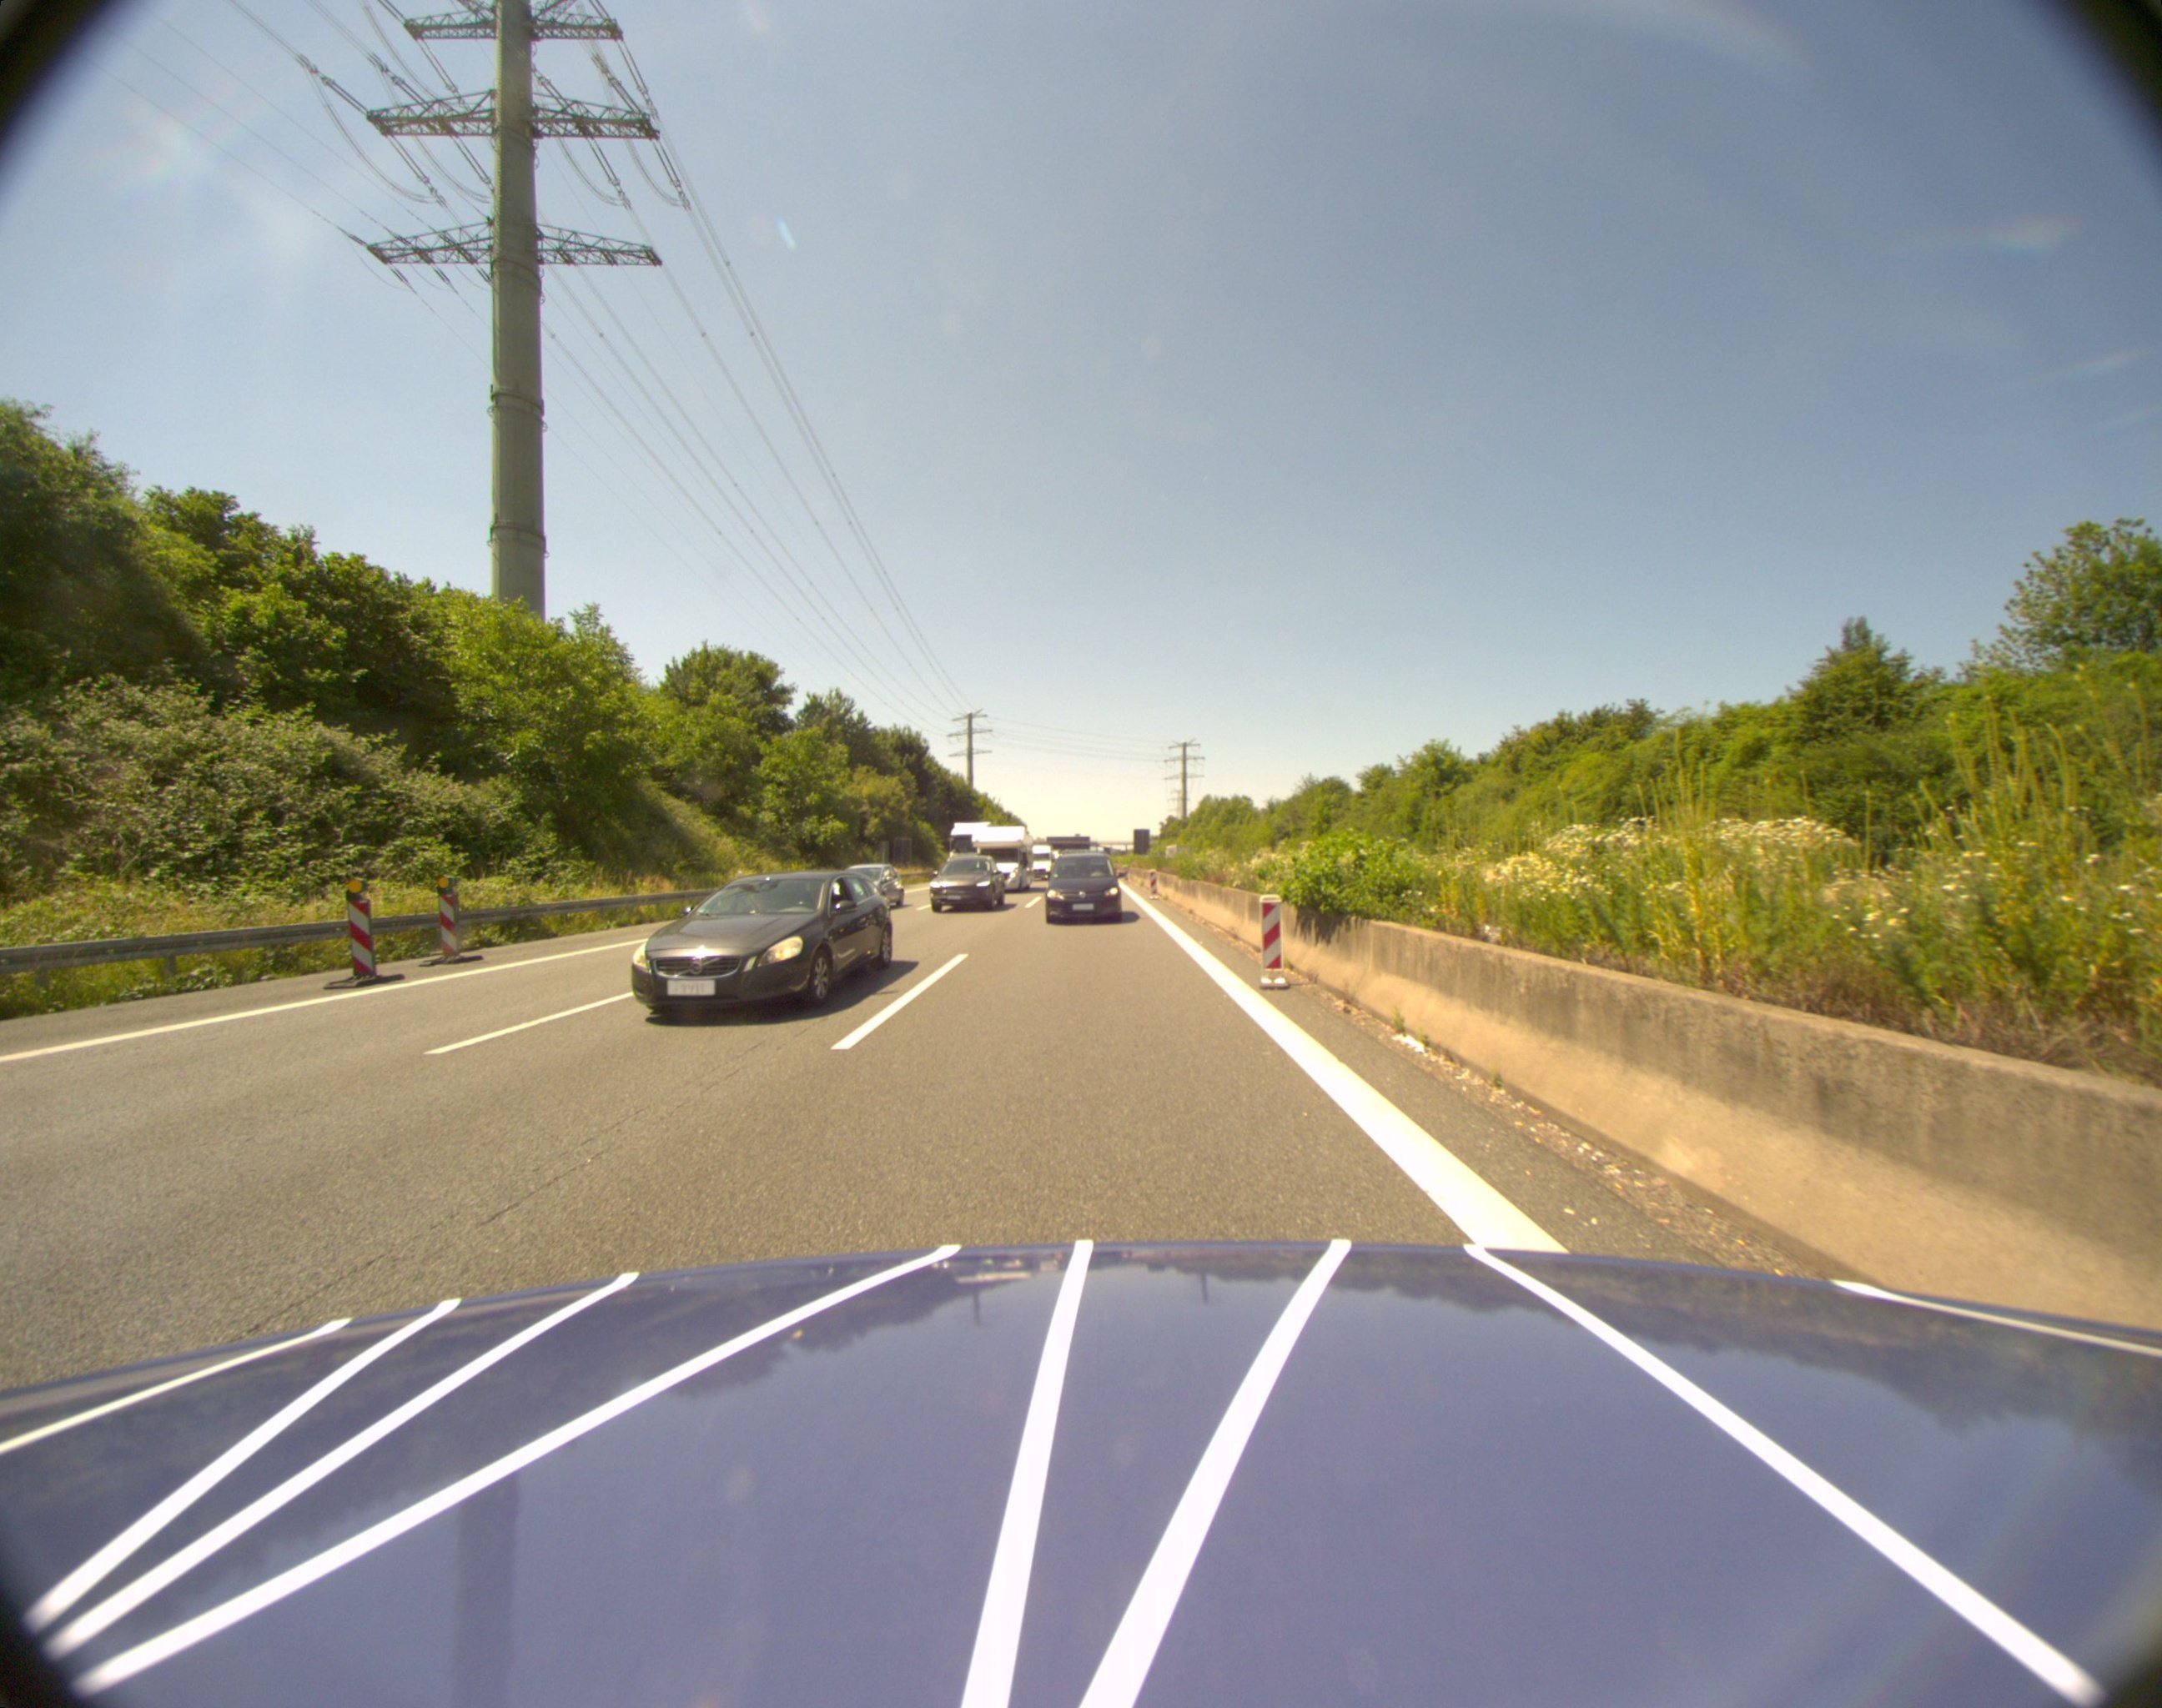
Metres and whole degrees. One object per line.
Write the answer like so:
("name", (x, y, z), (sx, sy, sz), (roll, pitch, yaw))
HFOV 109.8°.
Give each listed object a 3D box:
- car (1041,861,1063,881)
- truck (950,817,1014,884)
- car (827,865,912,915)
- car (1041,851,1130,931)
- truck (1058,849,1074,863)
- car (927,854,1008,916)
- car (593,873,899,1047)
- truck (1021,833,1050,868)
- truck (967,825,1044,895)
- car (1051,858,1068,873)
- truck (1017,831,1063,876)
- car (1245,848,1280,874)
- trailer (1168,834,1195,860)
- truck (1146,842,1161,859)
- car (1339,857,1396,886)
("car", (-2.640, 1.558, 70.200), (1.892, 1.692, 4.383), (-2, 0, -1))
("truck", (-6.790, -0.253, 53.903), (2.655, 4.127, 11.661), (-2, 0, 1))
("car", (-7.031, 1.148, 25.605), (1.800, 1.429, 3.731), (-2, 0, -1))
("car", (0.074, 0.805, 18.944), (1.892, 1.692, 4.383), (-2, 0, -1))
("truck", (-2.513, 0.274, 131.323), (2.408, 2.203, 6.744), (-2, 0, 2))
("car", (-3.464, 0.882, 24.007), (1.892, 1.692, 4.383), (-2, 0, -1))
("car", (-3.613, 1.036, 9.163), (1.800, 1.429, 4.230), (-2, 0, -1))
("truck", (-5.767, -0.409, 97.155), (2.655, 4.127, 11.661), (-2, 0, 1))
("truck", (-3.570, 0.232, 38.384), (2.514, 2.997, 9.898), (-2, 0, 2))
("car", (-2.613, 1.375, 93.857), (1.892, 1.692, 4.383), (-2, 0, -1))
("truck", (-2.922, -0.029, 57.319), (2.514, 2.997, 9.898), (-2, 0, 2))
("car", (13.414, 0.495, 56.426), (1.707, 1.852, 4.000), (0, 0, 1))
("trailer", (17.690, -1.184, 134.410), (3.024, 4.142, 14.020), (2, 0, 1))
("truck", (17.424, -0.864, 182.667), (2.769, 3.866, 9.029), (2, 0, 1))
("car", (15.752, 0.956, 41.991), (1.675, 1.494, 4.000), (0, 0, 1))
